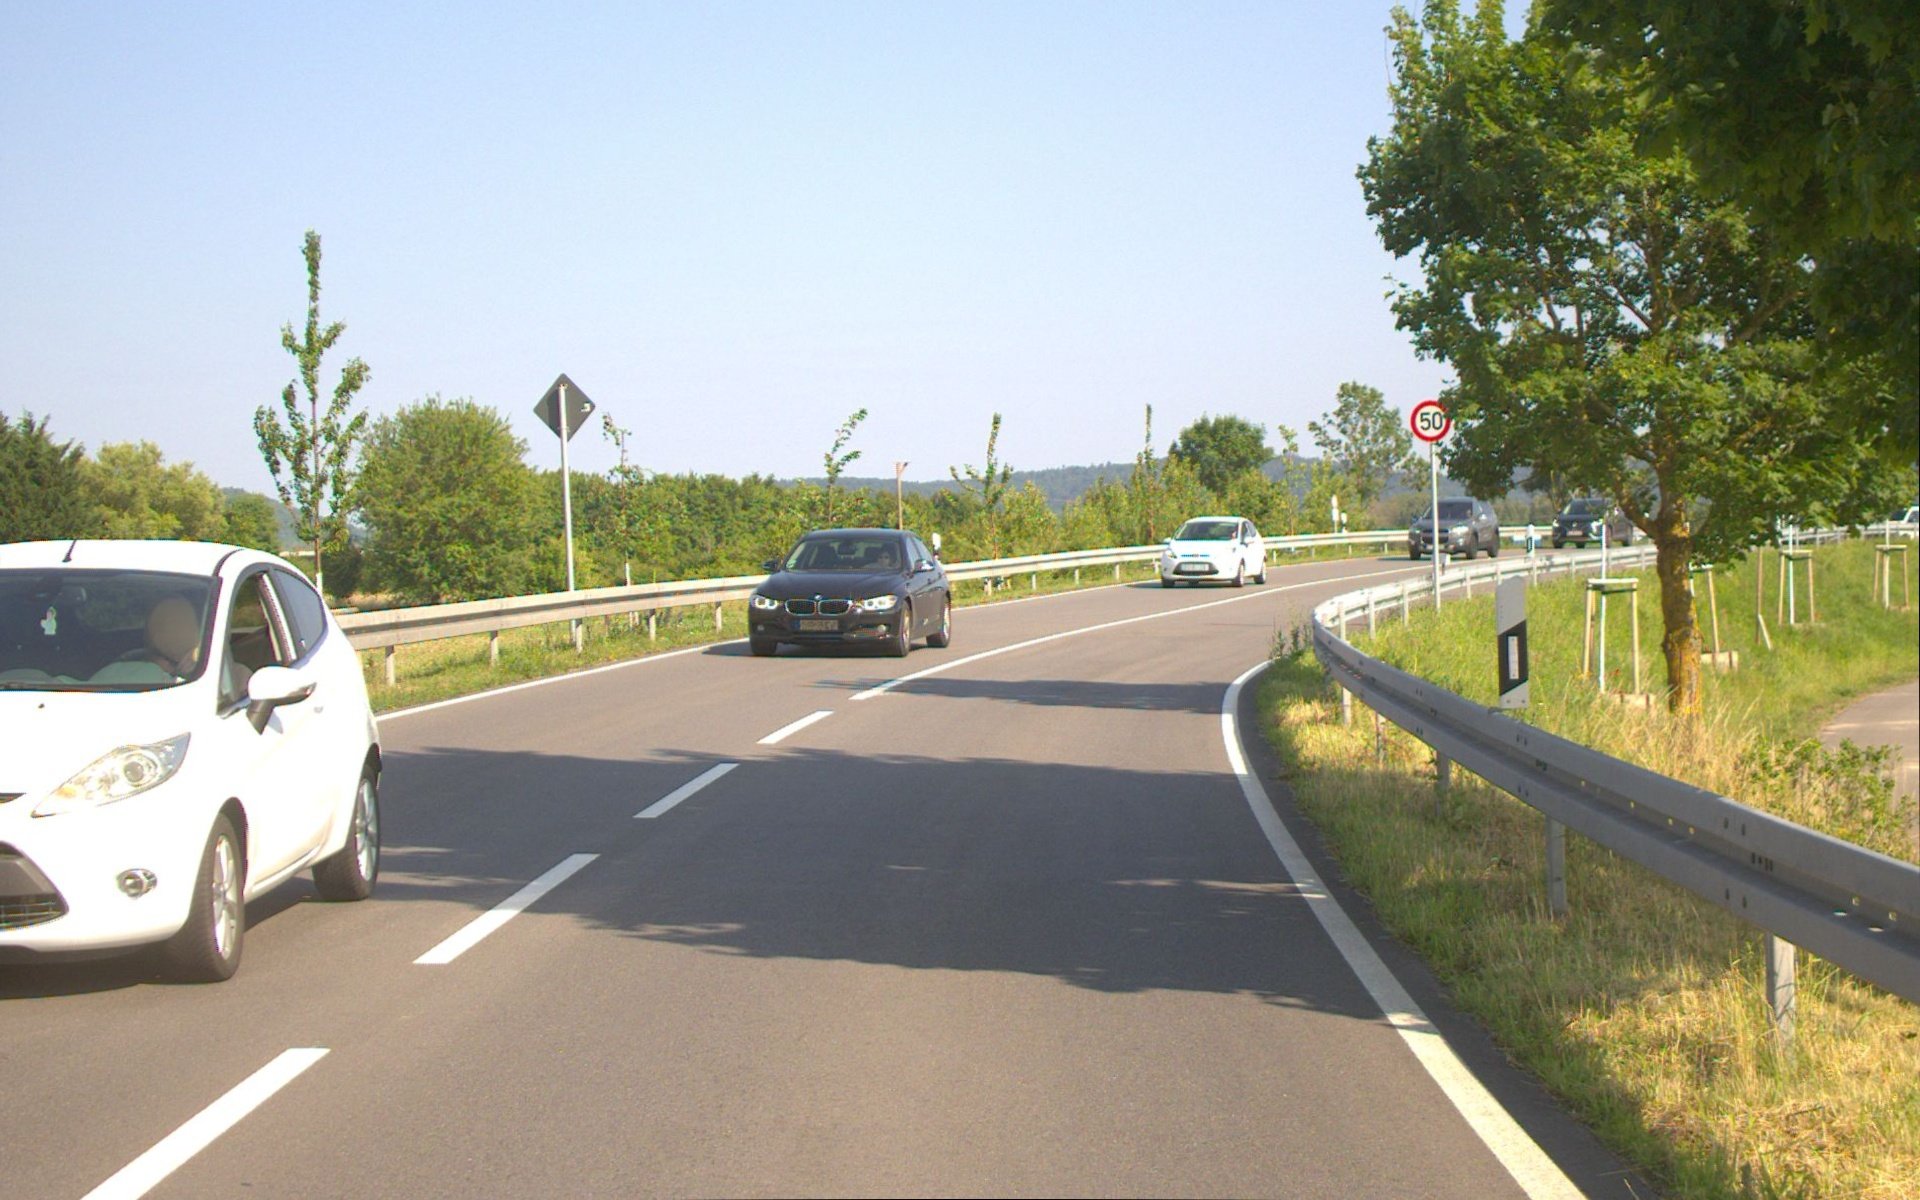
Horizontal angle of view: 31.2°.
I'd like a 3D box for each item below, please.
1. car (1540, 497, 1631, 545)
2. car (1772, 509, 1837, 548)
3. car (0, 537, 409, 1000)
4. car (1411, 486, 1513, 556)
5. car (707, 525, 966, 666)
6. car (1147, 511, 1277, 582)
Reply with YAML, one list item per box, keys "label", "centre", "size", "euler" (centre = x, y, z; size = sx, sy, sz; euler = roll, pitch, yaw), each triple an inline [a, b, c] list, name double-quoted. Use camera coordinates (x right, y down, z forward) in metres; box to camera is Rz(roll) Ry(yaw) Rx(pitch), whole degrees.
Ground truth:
- label: "car"
  centre: [21.117, -2.686, 115.910]
  size: [1.996, 1.587, 4.857]
  euler: [1, 2, 23]
- label: "car"
  centre: [36.092, -3.055, 146.851]
  size: [1.797, 1.443, 4.700]
  euler: [1, 4, 25]
- label: "car"
  centre: [-3.226, 0.486, 12.578]
  size: [1.751, 1.424, 3.846]
  euler: [1, 1, 1]
- label: "car"
  centre: [14.048, -2.198, 96.056]
  size: [1.884, 1.792, 5.086]
  euler: [1, 0, 19]
- label: "car"
  centre: [-1.360, -0.036, 39.830]
  size: [1.839, 1.539, 4.242]
  euler: [1, 0, 15]
- label: "car"
  centre: [5.337, -1.131, 72.276]
  size: [1.854, 1.444, 4.150]
  euler: [1, 1, 17]
